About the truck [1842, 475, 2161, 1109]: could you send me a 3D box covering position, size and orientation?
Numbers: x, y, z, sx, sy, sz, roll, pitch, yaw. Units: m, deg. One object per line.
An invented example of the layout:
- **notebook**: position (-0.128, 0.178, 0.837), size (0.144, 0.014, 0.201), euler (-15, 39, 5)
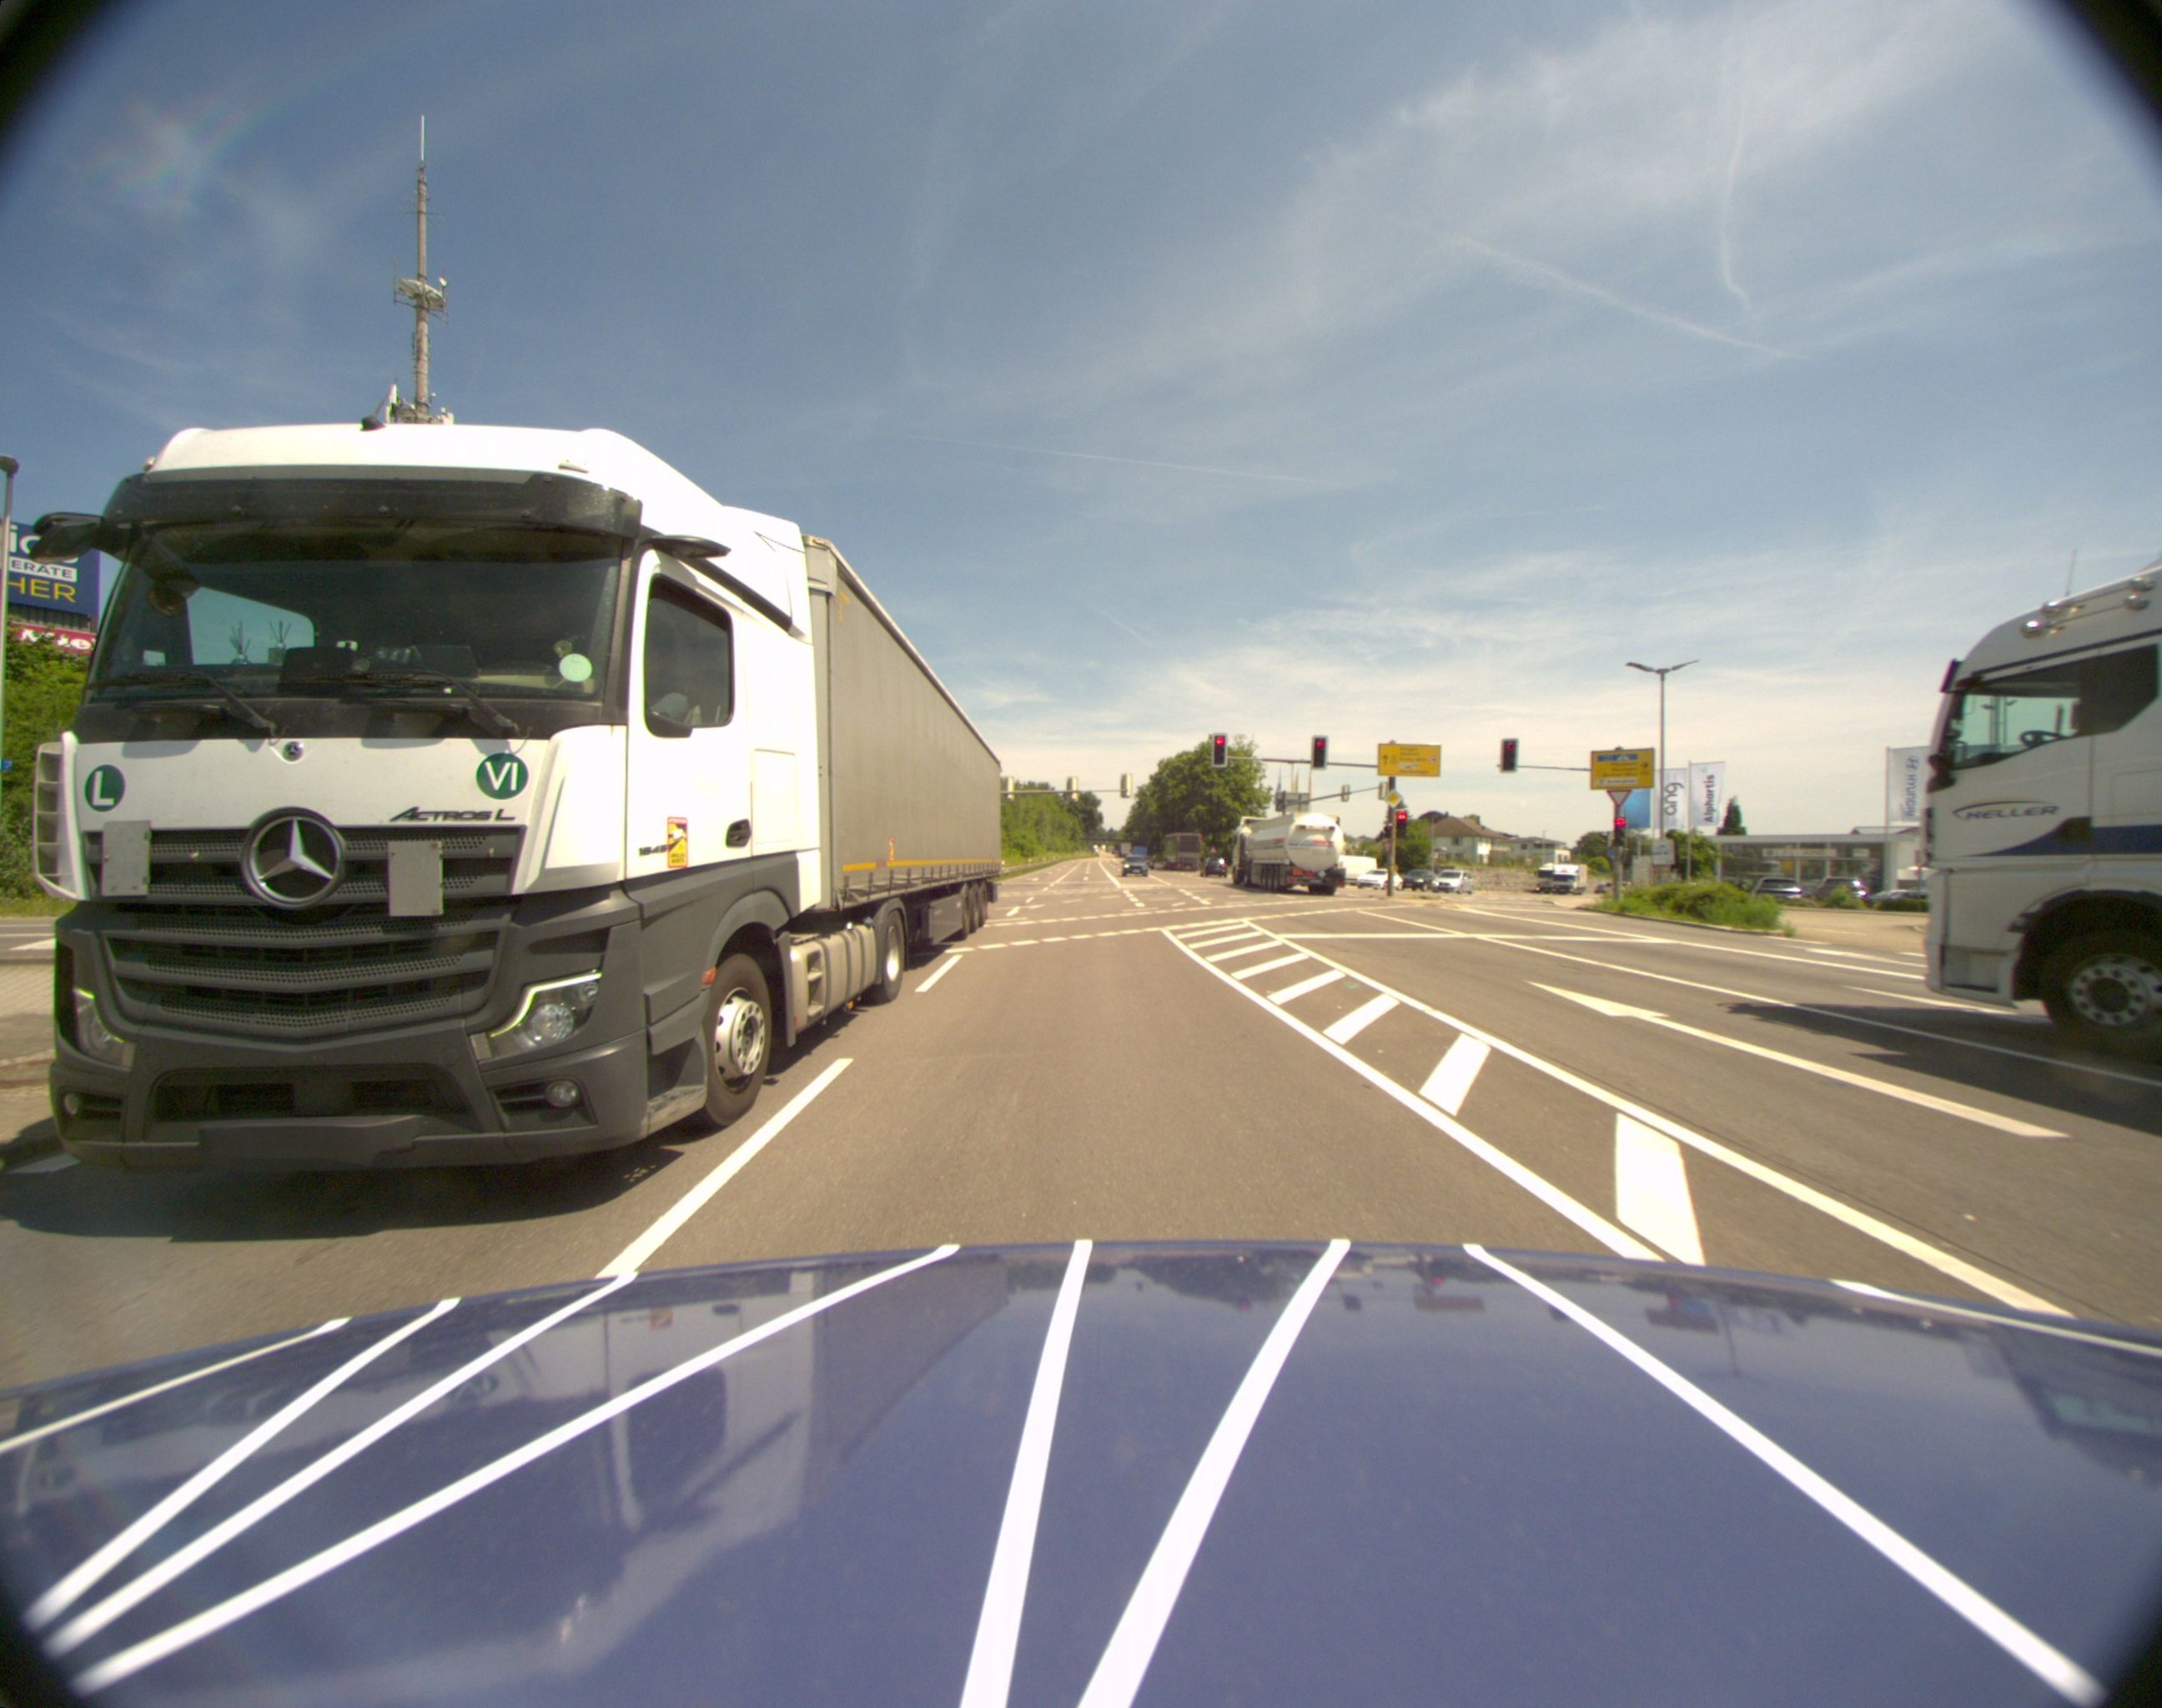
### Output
- **truck**: position (8.326, -0.383, 1.741), size (3.036, 4.081, 10.356), euler (1, 0, 3)

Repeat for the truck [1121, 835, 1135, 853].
- **truck**: position (12.702, -2.684, 205.629), size (3.533, 4.496, 7.204), euler (-1, 1, 5)

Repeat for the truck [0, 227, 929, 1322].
- **truck**: position (-3.381, -0.290, 5.972), size (2.981, 3.986, 6.327), euler (2, 0, 0)

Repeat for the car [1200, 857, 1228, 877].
- **car**: position (10.799, 1.038, 61.884), size (1.687, 1.420, 4.154), euler (2, 1, 3)

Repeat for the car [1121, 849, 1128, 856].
- **car**: position (12.325, -0.506, 215.041), size (1.899, 2.002, 3.754), euler (2, 0, 4)

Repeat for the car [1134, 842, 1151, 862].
- **car**: position (12.876, -0.388, 159.161), size (3.350, 4.056, 7.696), euler (1, 0, 6)

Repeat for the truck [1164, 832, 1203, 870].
- **truck**: position (11.697, -0.327, 88.144), size (2.850, 3.932, 17.090), euler (1, 0, 3)

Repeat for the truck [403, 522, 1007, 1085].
- **truck**: position (-3.404, -0.355, 12.552), size (2.981, 3.986, 14.121), euler (2, 0, 0)

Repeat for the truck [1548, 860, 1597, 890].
- **truck**: position (56.419, 2.362, 87.111), size (2.994, 3.201, 9.636), euler (2, 0, 43)

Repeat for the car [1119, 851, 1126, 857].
- **car**: position (13.512, 0.036, 248.998), size (2.168, 2.002, 4.002), euler (1, 0, 6)

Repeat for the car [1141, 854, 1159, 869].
- **car**: position (7.859, 0.852, 86.819), size (1.687, 1.489, 3.955), euler (3, 1, 2)

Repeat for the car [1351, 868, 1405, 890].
- **car**: position (19.702, 1.634, 50.276), size (1.918, 1.306, 4.009), euler (2, 0, 43)

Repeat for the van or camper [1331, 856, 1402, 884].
- **van or camper**: position (24.869, 1.391, 66.351), size (5.465, 2.398, 2.097), euler (0, 0, -1)

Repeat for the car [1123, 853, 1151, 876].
- **car**: position (4.273, 0.783, 58.305), size (1.928, 1.601, 4.510), euler (0, 1, 2)

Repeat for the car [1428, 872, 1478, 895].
- **car**: position (25.116, 1.936, 51.222), size (1.918, 1.413, 4.009), euler (2, 0, 43)

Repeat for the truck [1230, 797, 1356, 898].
- **truck**: position (10.024, -0.295, 38.237), size (2.611, 3.995, 15.132), euler (2, 0, 2)

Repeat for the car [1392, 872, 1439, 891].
- **car**: position (24.752, 2.005, 56.101), size (1.918, 1.306, 4.009), euler (2, 0, 43)
